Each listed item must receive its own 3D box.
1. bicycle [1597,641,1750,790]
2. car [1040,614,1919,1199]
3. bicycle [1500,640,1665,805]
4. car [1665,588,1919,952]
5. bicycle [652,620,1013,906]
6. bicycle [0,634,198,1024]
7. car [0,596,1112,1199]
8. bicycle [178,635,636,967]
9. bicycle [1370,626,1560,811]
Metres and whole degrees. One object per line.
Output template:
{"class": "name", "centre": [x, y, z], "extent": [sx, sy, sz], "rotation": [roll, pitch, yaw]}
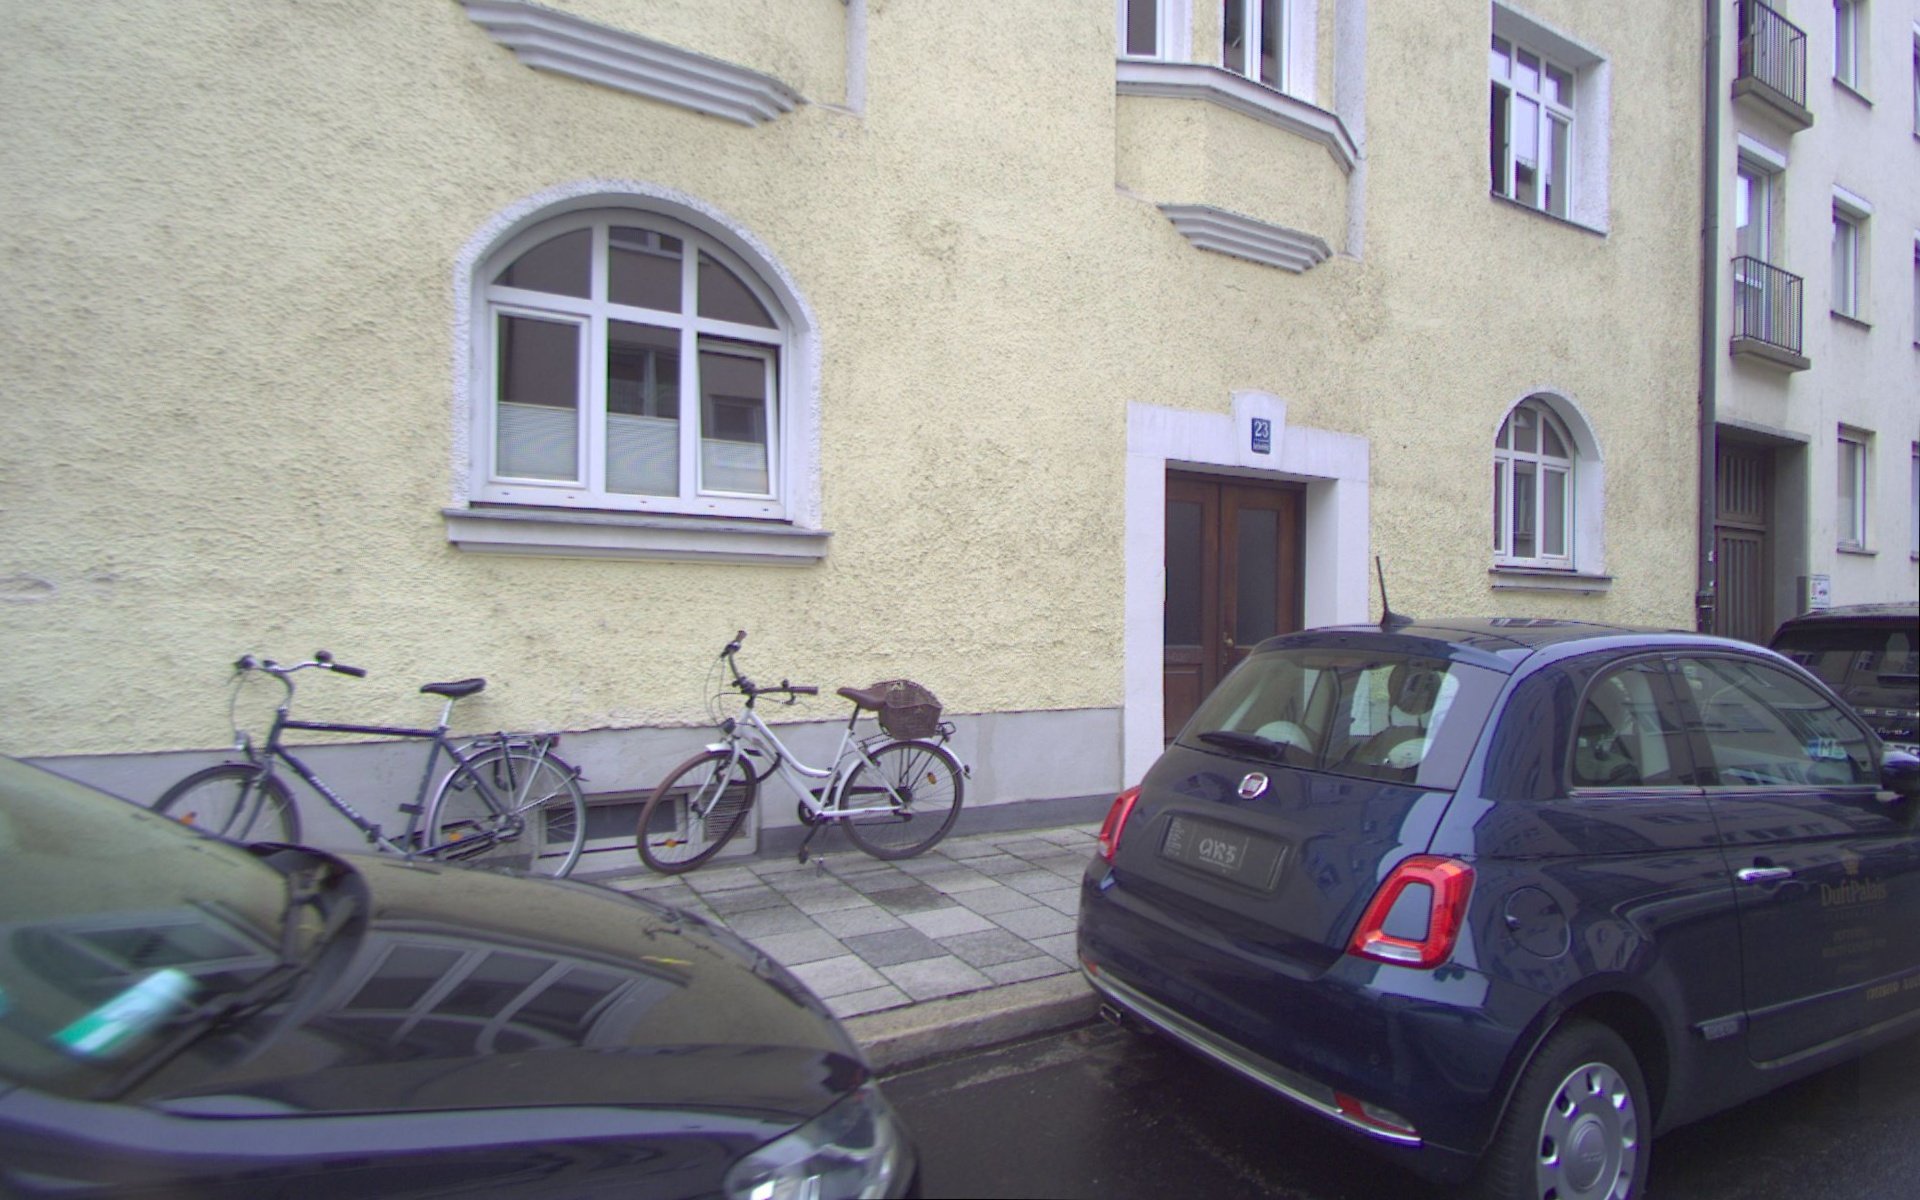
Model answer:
{"class": "bicycle", "centre": [6.874, 1.069, 9.663], "extent": [1.534, 1.296, 0.590], "rotation": [2, 2, -31]}
{"class": "car", "centre": [2.139, 0.824, 3.476], "extent": [3.432, 1.479, 1.556], "rotation": [2, -2, -29]}
{"class": "bicycle", "centre": [5.423, 1.022, 8.732], "extent": [1.534, 1.296, 0.532], "rotation": [2, 2, -31]}
{"class": "car", "centre": [6.286, 0.841, 5.833], "extent": [4.360, 1.682, 1.871], "rotation": [2, -2, -29]}
{"class": "bicycle", "centre": [-0.618, 0.751, 5.139], "extent": [1.716, 1.250, 0.590], "rotation": [2, 0, -31]}
{"class": "bicycle", "centre": [-3.645, 0.744, 3.306], "extent": [1.716, 1.250, 0.590], "rotation": [2, 0, -31]}
{"class": "car", "centre": [-1.781, 0.732, 1.034], "extent": [3.721, 1.479, 1.555], "rotation": [2, -2, -31]}
{"class": "bicycle", "centre": [-2.279, 0.770, 4.303], "extent": [1.614, 1.206, 0.437], "rotation": [2, 0, -31]}
{"class": "bicycle", "centre": [3.942, 0.876, 7.809], "extent": [1.534, 1.296, 0.532], "rotation": [2, 2, -31]}
